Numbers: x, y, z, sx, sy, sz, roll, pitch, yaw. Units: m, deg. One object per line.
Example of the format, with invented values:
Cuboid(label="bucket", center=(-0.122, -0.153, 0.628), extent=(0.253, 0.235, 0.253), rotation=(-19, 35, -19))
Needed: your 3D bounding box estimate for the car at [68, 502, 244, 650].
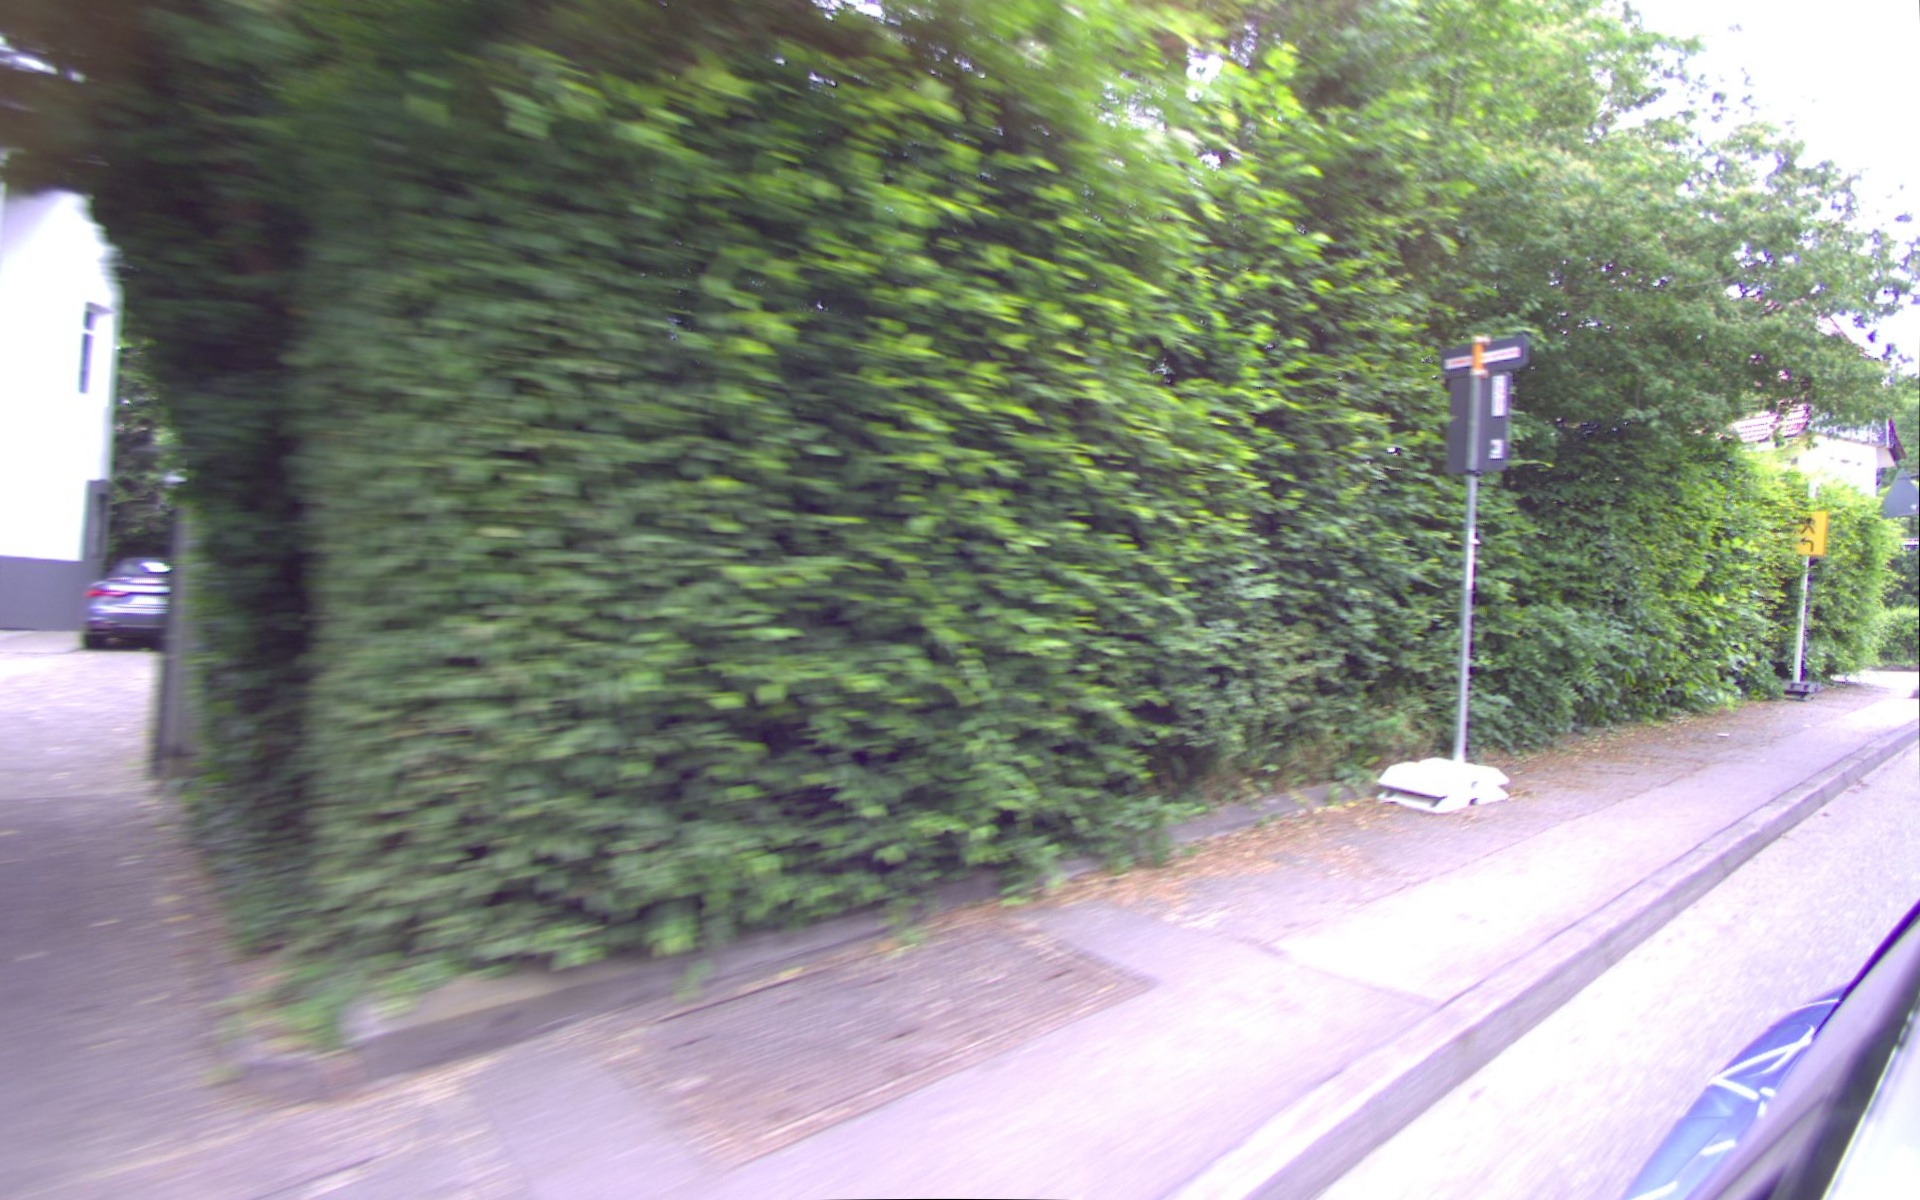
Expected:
Cuboid(label="car", center=(-12.871, -0.354, 16.121), extent=(1.965, 2.039, 3.993), rotation=(1, 0, -41))
